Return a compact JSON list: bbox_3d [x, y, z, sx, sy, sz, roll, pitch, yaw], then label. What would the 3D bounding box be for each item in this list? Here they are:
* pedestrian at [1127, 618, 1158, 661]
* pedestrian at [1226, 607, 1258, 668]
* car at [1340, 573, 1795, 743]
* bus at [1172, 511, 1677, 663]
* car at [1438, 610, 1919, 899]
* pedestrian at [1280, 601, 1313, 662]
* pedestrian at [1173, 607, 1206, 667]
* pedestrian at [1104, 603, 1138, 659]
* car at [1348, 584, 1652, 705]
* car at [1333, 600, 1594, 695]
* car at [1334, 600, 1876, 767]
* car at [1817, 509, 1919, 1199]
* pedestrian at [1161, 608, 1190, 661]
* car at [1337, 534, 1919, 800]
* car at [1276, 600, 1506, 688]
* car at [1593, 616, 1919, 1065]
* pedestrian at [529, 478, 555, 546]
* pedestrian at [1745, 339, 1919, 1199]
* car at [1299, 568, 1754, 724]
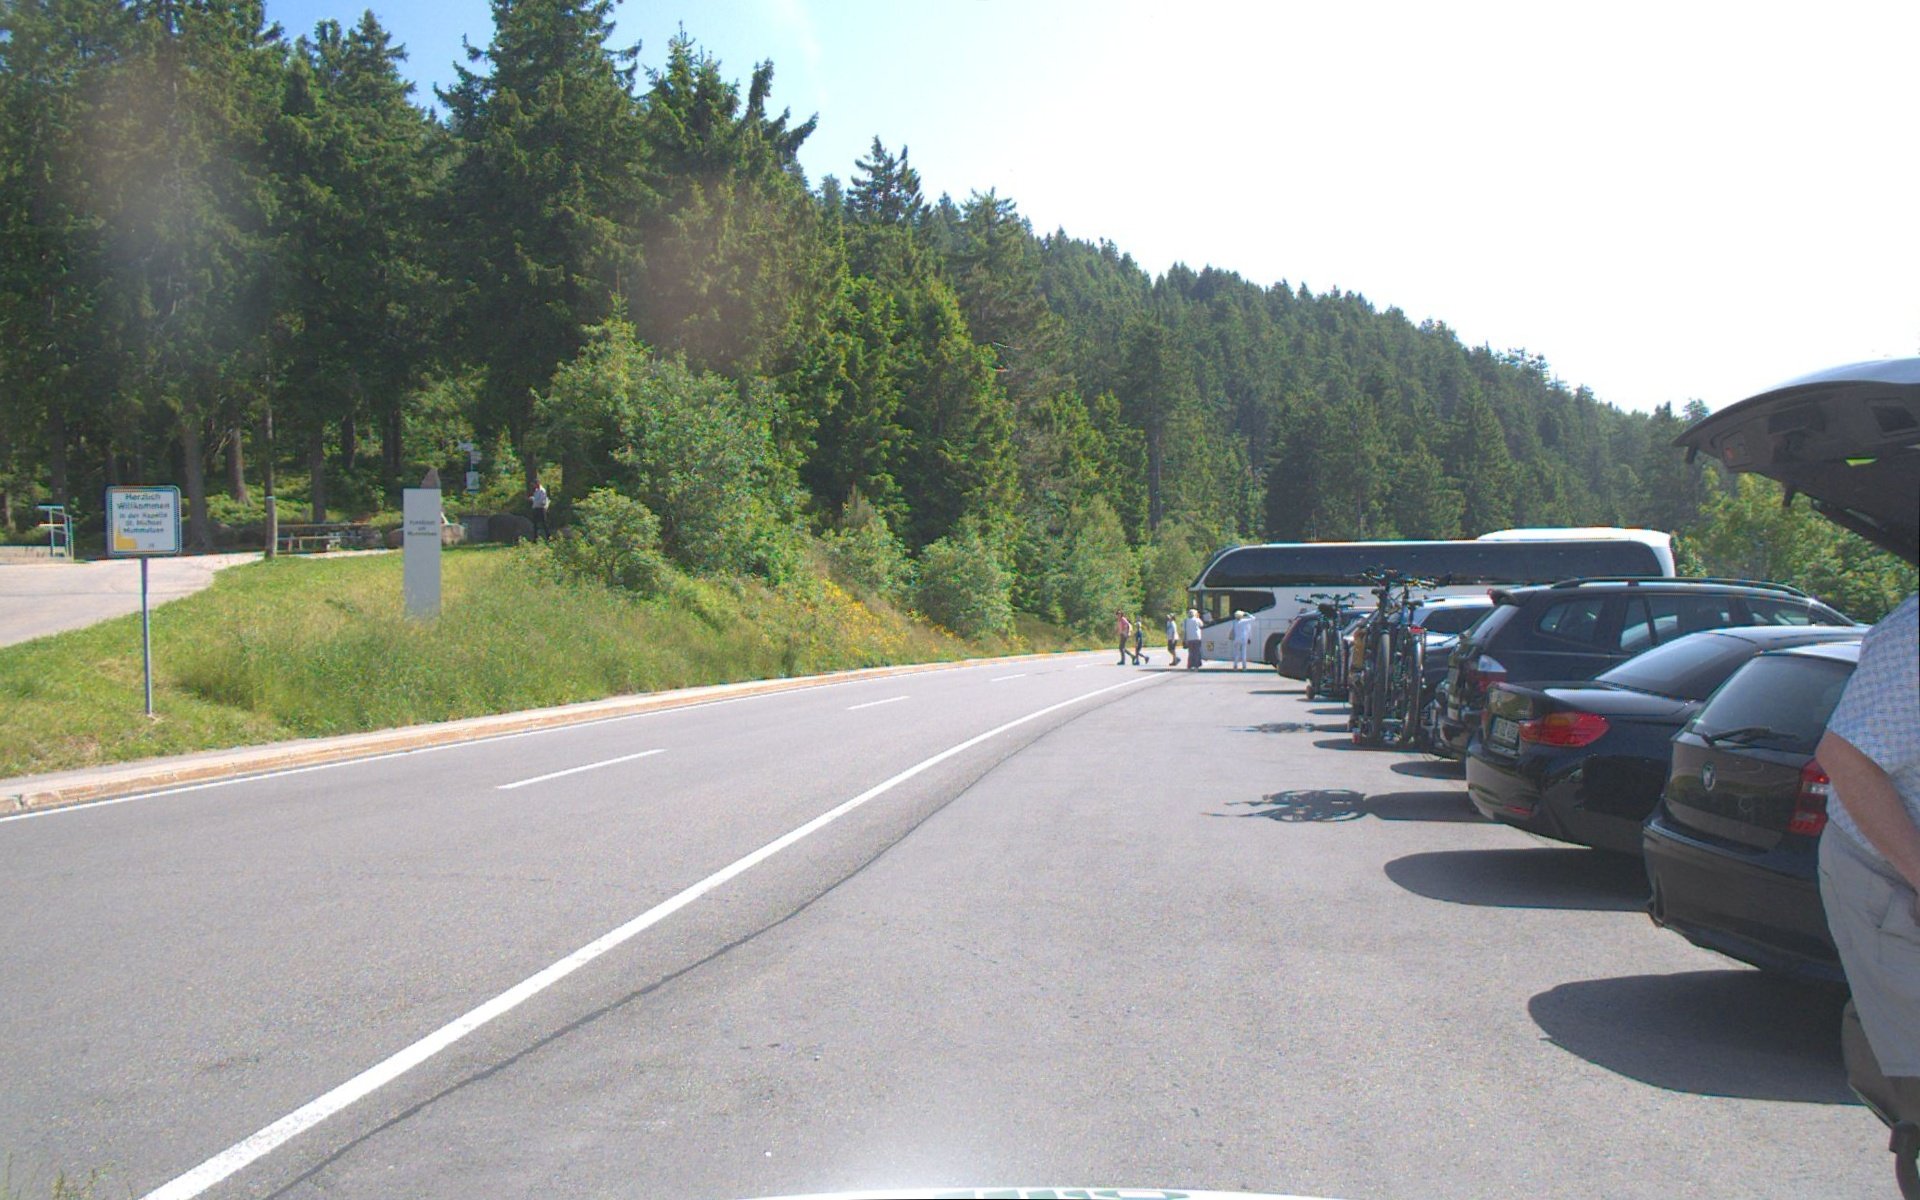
[{"bbox_3d":[5.696,1.233,51.654,0.720,1.302,0.782,-1,-1,-10],"label":"pedestrian"},{"bbox_3d":[7.609,1.009,44.600,0.754,1.613,0.773,-2,-1,16],"label":"pedestrian"},{"bbox_3d":[6.183,0.596,17.310,4.153,1.581,1.839,-2,-1,9],"label":"car"},{"bbox_3d":[12.495,-0.252,45.303,12.820,3.594,3.044,-2,-1,19],"label":"bus"},{"bbox_3d":[4.855,0.792,9.065,3.996,1.400,1.703,1,0,3],"label":"car"},{"bbox_3d":[9.071,0.838,44.576,0.753,1.613,0.773,-2,-1,17],"label":"pedestrian"},{"bbox_3d":[6.257,1.009,45.063,0.754,1.613,0.773,-2,-1,16],"label":"pedestrian"},{"bbox_3d":[5.100,0.982,52.434,0.838,1.713,0.868,-1,-1,-10],"label":"pedestrian"},{"bbox_3d":[7.663,0.627,23.792,3.902,1.581,1.661,-2,-1,9],"label":"car"},{"bbox_3d":[8.229,0.769,27.314,3.902,1.423,1.621,-2,-1,9],"label":"car"},{"bbox_3d":[5.526,0.714,14.689,4.153,1.291,1.839,-2,-1,9],"label":"car"},{"bbox_3d":[4.257,0.692,3.139,4.253,1.654,1.870,2,-1,4],"label":"car"},{"bbox_3d":[6.670,1.071,51.272,0.836,1.613,0.818,-2,-1,5],"label":"pedestrian"},{"bbox_3d":[5.245,0.463,11.923,4.843,1.725,1.947,-1,0,11],"label":"car"},{"bbox_3d":[7.885,0.806,30.575,3.902,1.474,1.862,-2,-1,9],"label":"car"},{"bbox_3d":[4.652,0.799,6.084,3.998,1.400,1.702,1,0,0],"label":"car"},{"bbox_3d":[-11.995,-2.524,47.436,0.669,1.910,0.539,-2,-1,-15],"label":"pedestrian"},{"bbox_3d":[1.971,0.493,3.112,0.723,1.903,0.754,2,2,39],"label":"pedestrian"},{"bbox_3d":[6.714,0.558,20.161,4.926,1.680,2.049,-2,-1,9],"label":"car"}]
